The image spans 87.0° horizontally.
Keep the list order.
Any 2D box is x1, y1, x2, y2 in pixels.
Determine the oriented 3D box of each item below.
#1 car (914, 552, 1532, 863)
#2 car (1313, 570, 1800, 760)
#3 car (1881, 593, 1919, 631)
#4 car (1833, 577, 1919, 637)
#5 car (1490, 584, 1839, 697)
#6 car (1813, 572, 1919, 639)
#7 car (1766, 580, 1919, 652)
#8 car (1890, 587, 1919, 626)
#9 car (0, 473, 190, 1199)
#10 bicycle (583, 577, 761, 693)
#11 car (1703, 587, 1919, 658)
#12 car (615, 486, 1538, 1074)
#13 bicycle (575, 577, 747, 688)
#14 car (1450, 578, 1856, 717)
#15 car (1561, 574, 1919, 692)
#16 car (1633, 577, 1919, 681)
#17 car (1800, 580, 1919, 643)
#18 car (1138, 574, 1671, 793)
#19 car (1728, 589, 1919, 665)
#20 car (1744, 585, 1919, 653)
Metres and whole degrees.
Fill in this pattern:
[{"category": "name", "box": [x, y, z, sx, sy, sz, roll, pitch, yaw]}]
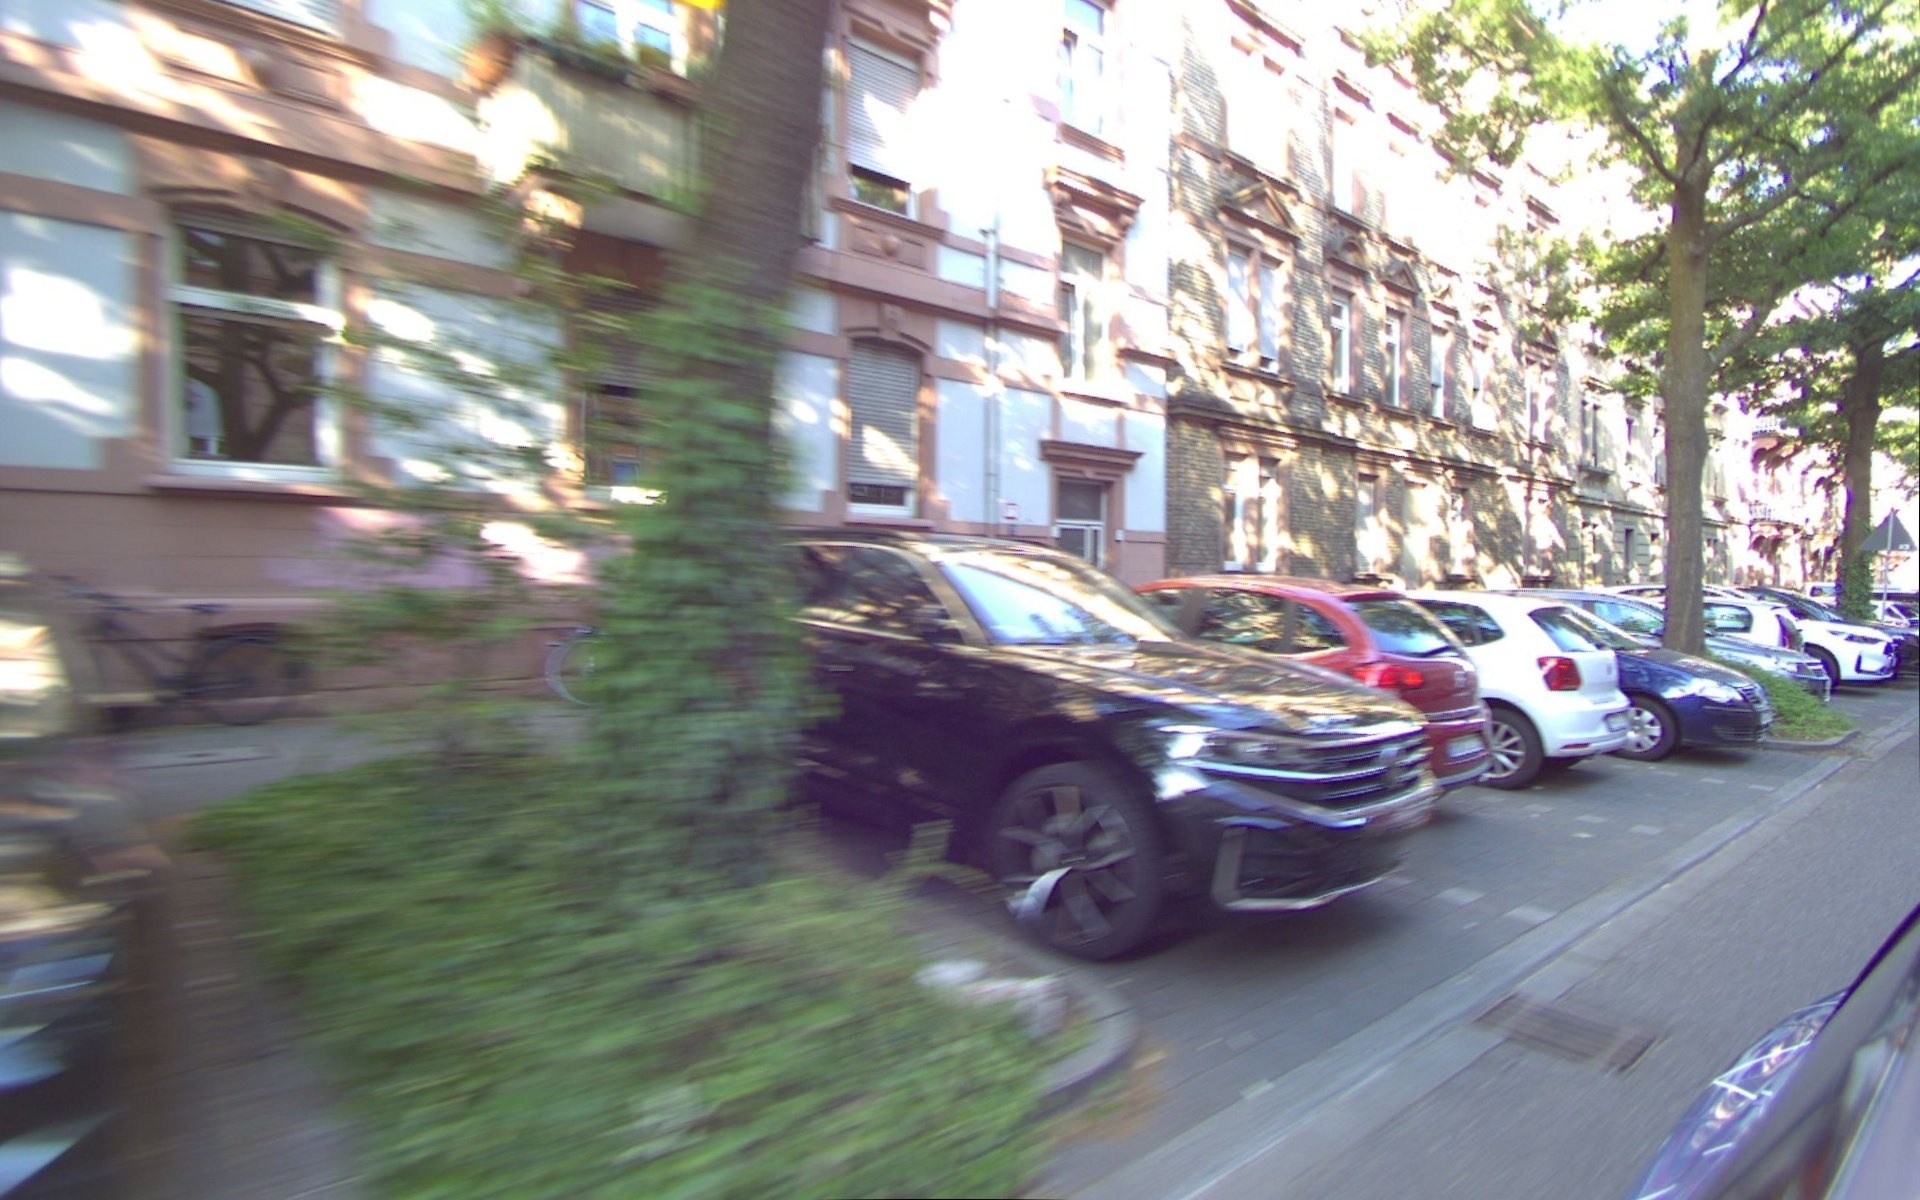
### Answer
[{"category": "car", "box": [1.641, 0.505, 7.293, 1.753, 1.610, 3.991, 0, 1, -44]}, {"category": "car", "box": [5.966, 0.500, 10.526, 1.648, 1.405, 3.996, 0, 4, -41]}, {"category": "car", "box": [37.362, 0.540, 37.530, 1.868, 1.384, 4.470, 0, 3, -39]}, {"category": "car", "box": [32.599, 0.288, 33.943, 4.636, 1.914, 1.889, 3, 1, 28]}, {"category": "car", "box": [10.711, 0.523, 15.640, 1.769, 1.488, 4.110, 0, 1, -39]}, {"category": "car", "box": [30.026, 0.224, 31.586, 2.140, 1.924, 4.926, 0, 4, -44]}, {"category": "car", "box": [24.319, 0.396, 26.977, 1.910, 1.811, 4.135, 0, 1, -38]}, {"category": "car", "box": [42.435, 0.385, 42.875, 1.709, 1.607, 4.240, 0, 4, -42]}, {"category": "car", "box": [-3.461, 0.535, 2.822, 1.964, 1.548, 4.563, 0, 1, -39]}, {"category": "bicycle", "box": [-2.812, 0.320, 10.002, 1.672, 1.064, 0.366, 0, 1, -38]}, {"category": "car", "box": [20.169, 0.461, 23.904, 1.659, 1.513, 3.991, 0, 1, -43]}, {"category": "car", "box": [0.128, 0.410, 5.283, 1.850, 1.723, 4.650, 0, 3, -44]}, {"category": "bicycle", "box": [-3.014, 0.310, 10.325, 1.672, 1.064, 0.325, 0, 1, -38]}, {"category": "car", "box": [9.104, 0.505, 13.569, 1.771, 1.555, 4.227, 0, 1, -43]}, {"category": "car", "box": [12.785, 0.425, 16.836, 1.859, 1.676, 4.483, -2, 2, -41]}, {"category": "car", "box": [15.242, 0.432, 18.583, 1.858, 1.676, 4.487, -2, 2, -39]}, {"category": "car", "box": [27.857, 0.379, 29.502, 2.044, 1.652, 4.926, 0, 4, -44]}, {"category": "car", "box": [3.744, 0.536, 9.029, 1.753, 1.480, 3.991, 0, 1, -44]}, {"category": "car", "box": [18.854, 0.519, 21.316, 1.657, 1.474, 3.995, 0, 1, -40]}, {"category": "car", "box": [22.308, 0.443, 25.168, 1.903, 1.473, 4.153, 0, 3, -41]}]
